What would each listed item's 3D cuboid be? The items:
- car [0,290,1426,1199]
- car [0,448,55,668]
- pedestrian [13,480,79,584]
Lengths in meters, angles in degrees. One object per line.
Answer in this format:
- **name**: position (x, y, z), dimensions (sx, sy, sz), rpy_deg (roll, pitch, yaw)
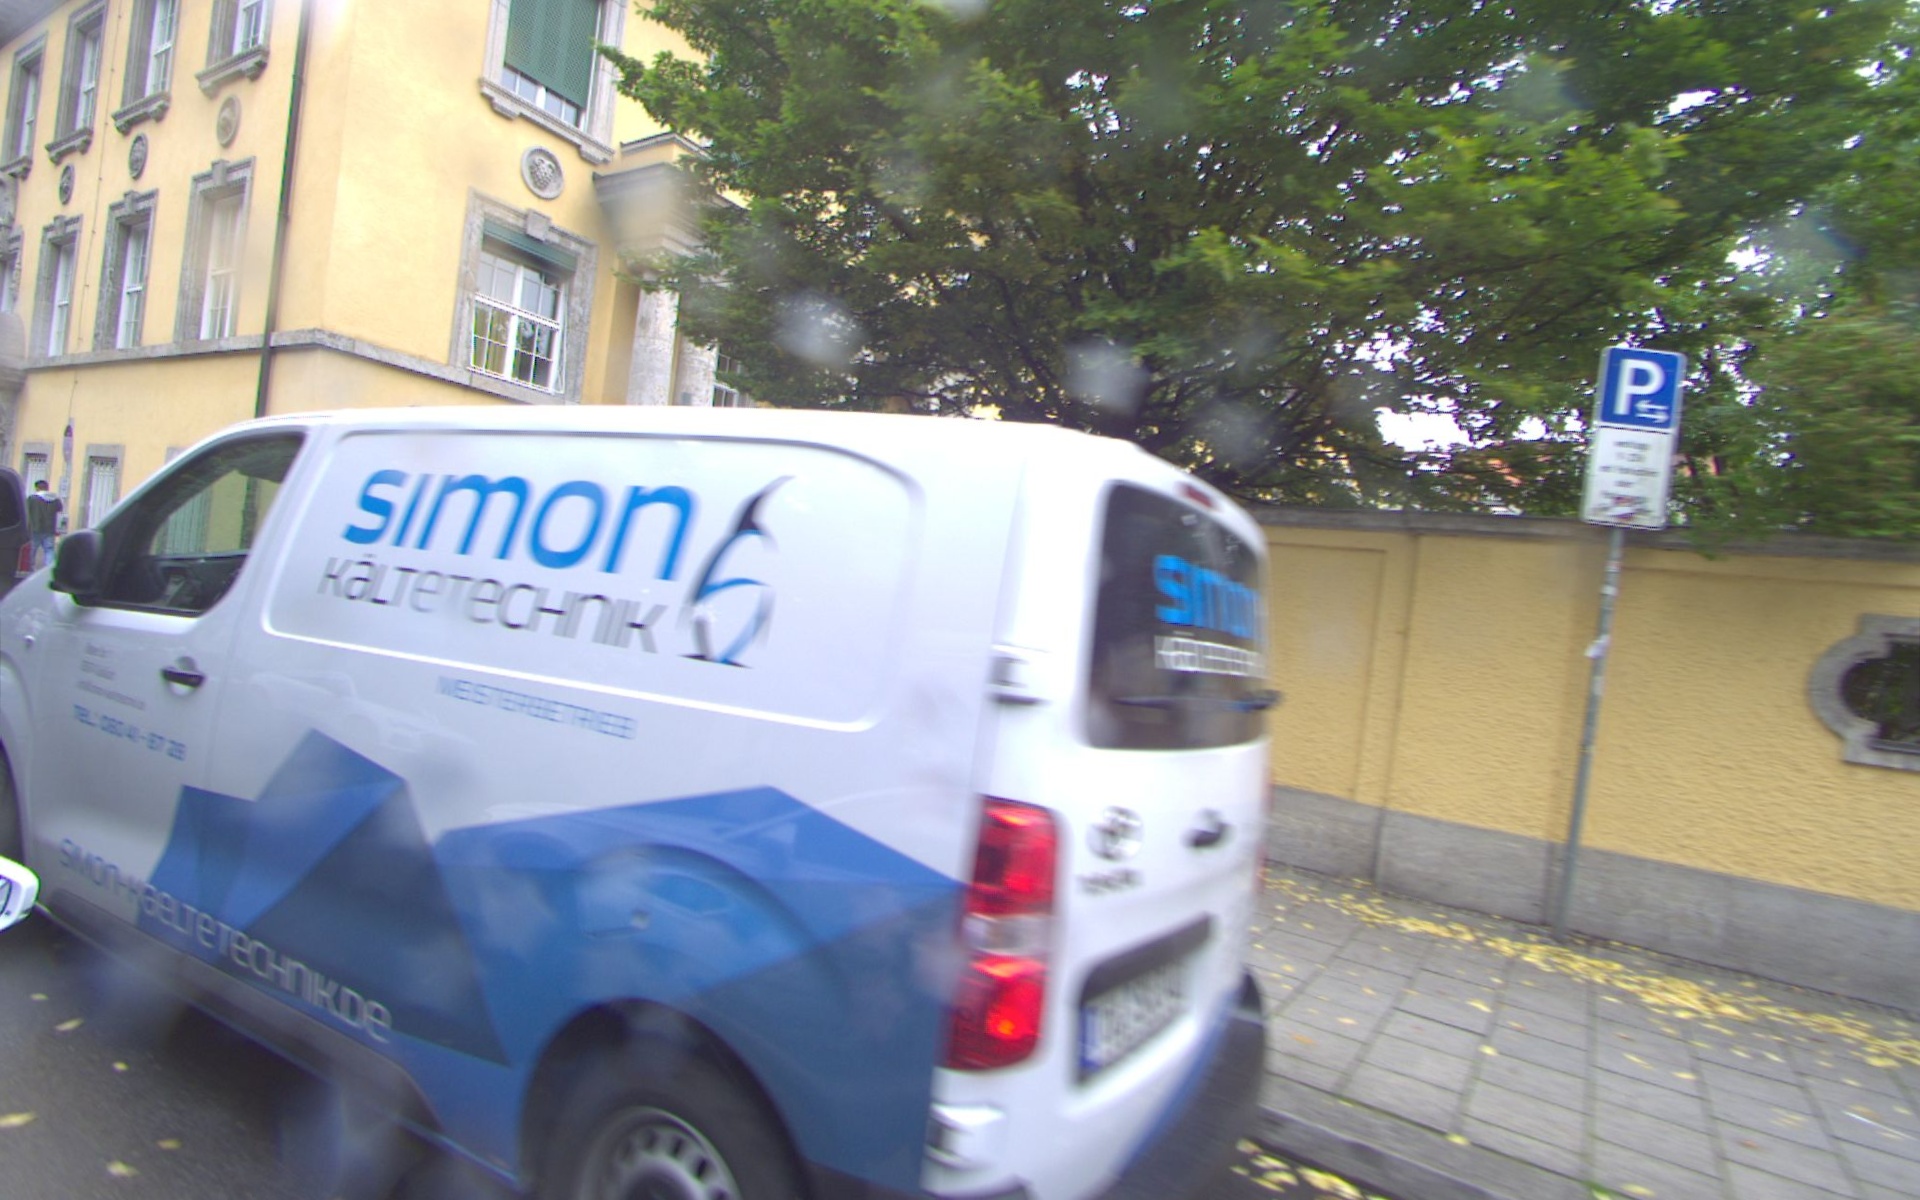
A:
- **car**: position (-1.395, 0.421, 3.378), dimensions (5.076, 1.929, 2.018), rpy_deg (6, -1, 30)
- **car**: position (-10.705, -0.623, 9.427), dimensions (4.904, 1.892, 1.873), rpy_deg (6, 0, 31)
- **pedestrian**: position (-16.778, -1.241, 18.470), dimensions (0.573, 1.828, 0.700), rpy_deg (6, 2, 32)
